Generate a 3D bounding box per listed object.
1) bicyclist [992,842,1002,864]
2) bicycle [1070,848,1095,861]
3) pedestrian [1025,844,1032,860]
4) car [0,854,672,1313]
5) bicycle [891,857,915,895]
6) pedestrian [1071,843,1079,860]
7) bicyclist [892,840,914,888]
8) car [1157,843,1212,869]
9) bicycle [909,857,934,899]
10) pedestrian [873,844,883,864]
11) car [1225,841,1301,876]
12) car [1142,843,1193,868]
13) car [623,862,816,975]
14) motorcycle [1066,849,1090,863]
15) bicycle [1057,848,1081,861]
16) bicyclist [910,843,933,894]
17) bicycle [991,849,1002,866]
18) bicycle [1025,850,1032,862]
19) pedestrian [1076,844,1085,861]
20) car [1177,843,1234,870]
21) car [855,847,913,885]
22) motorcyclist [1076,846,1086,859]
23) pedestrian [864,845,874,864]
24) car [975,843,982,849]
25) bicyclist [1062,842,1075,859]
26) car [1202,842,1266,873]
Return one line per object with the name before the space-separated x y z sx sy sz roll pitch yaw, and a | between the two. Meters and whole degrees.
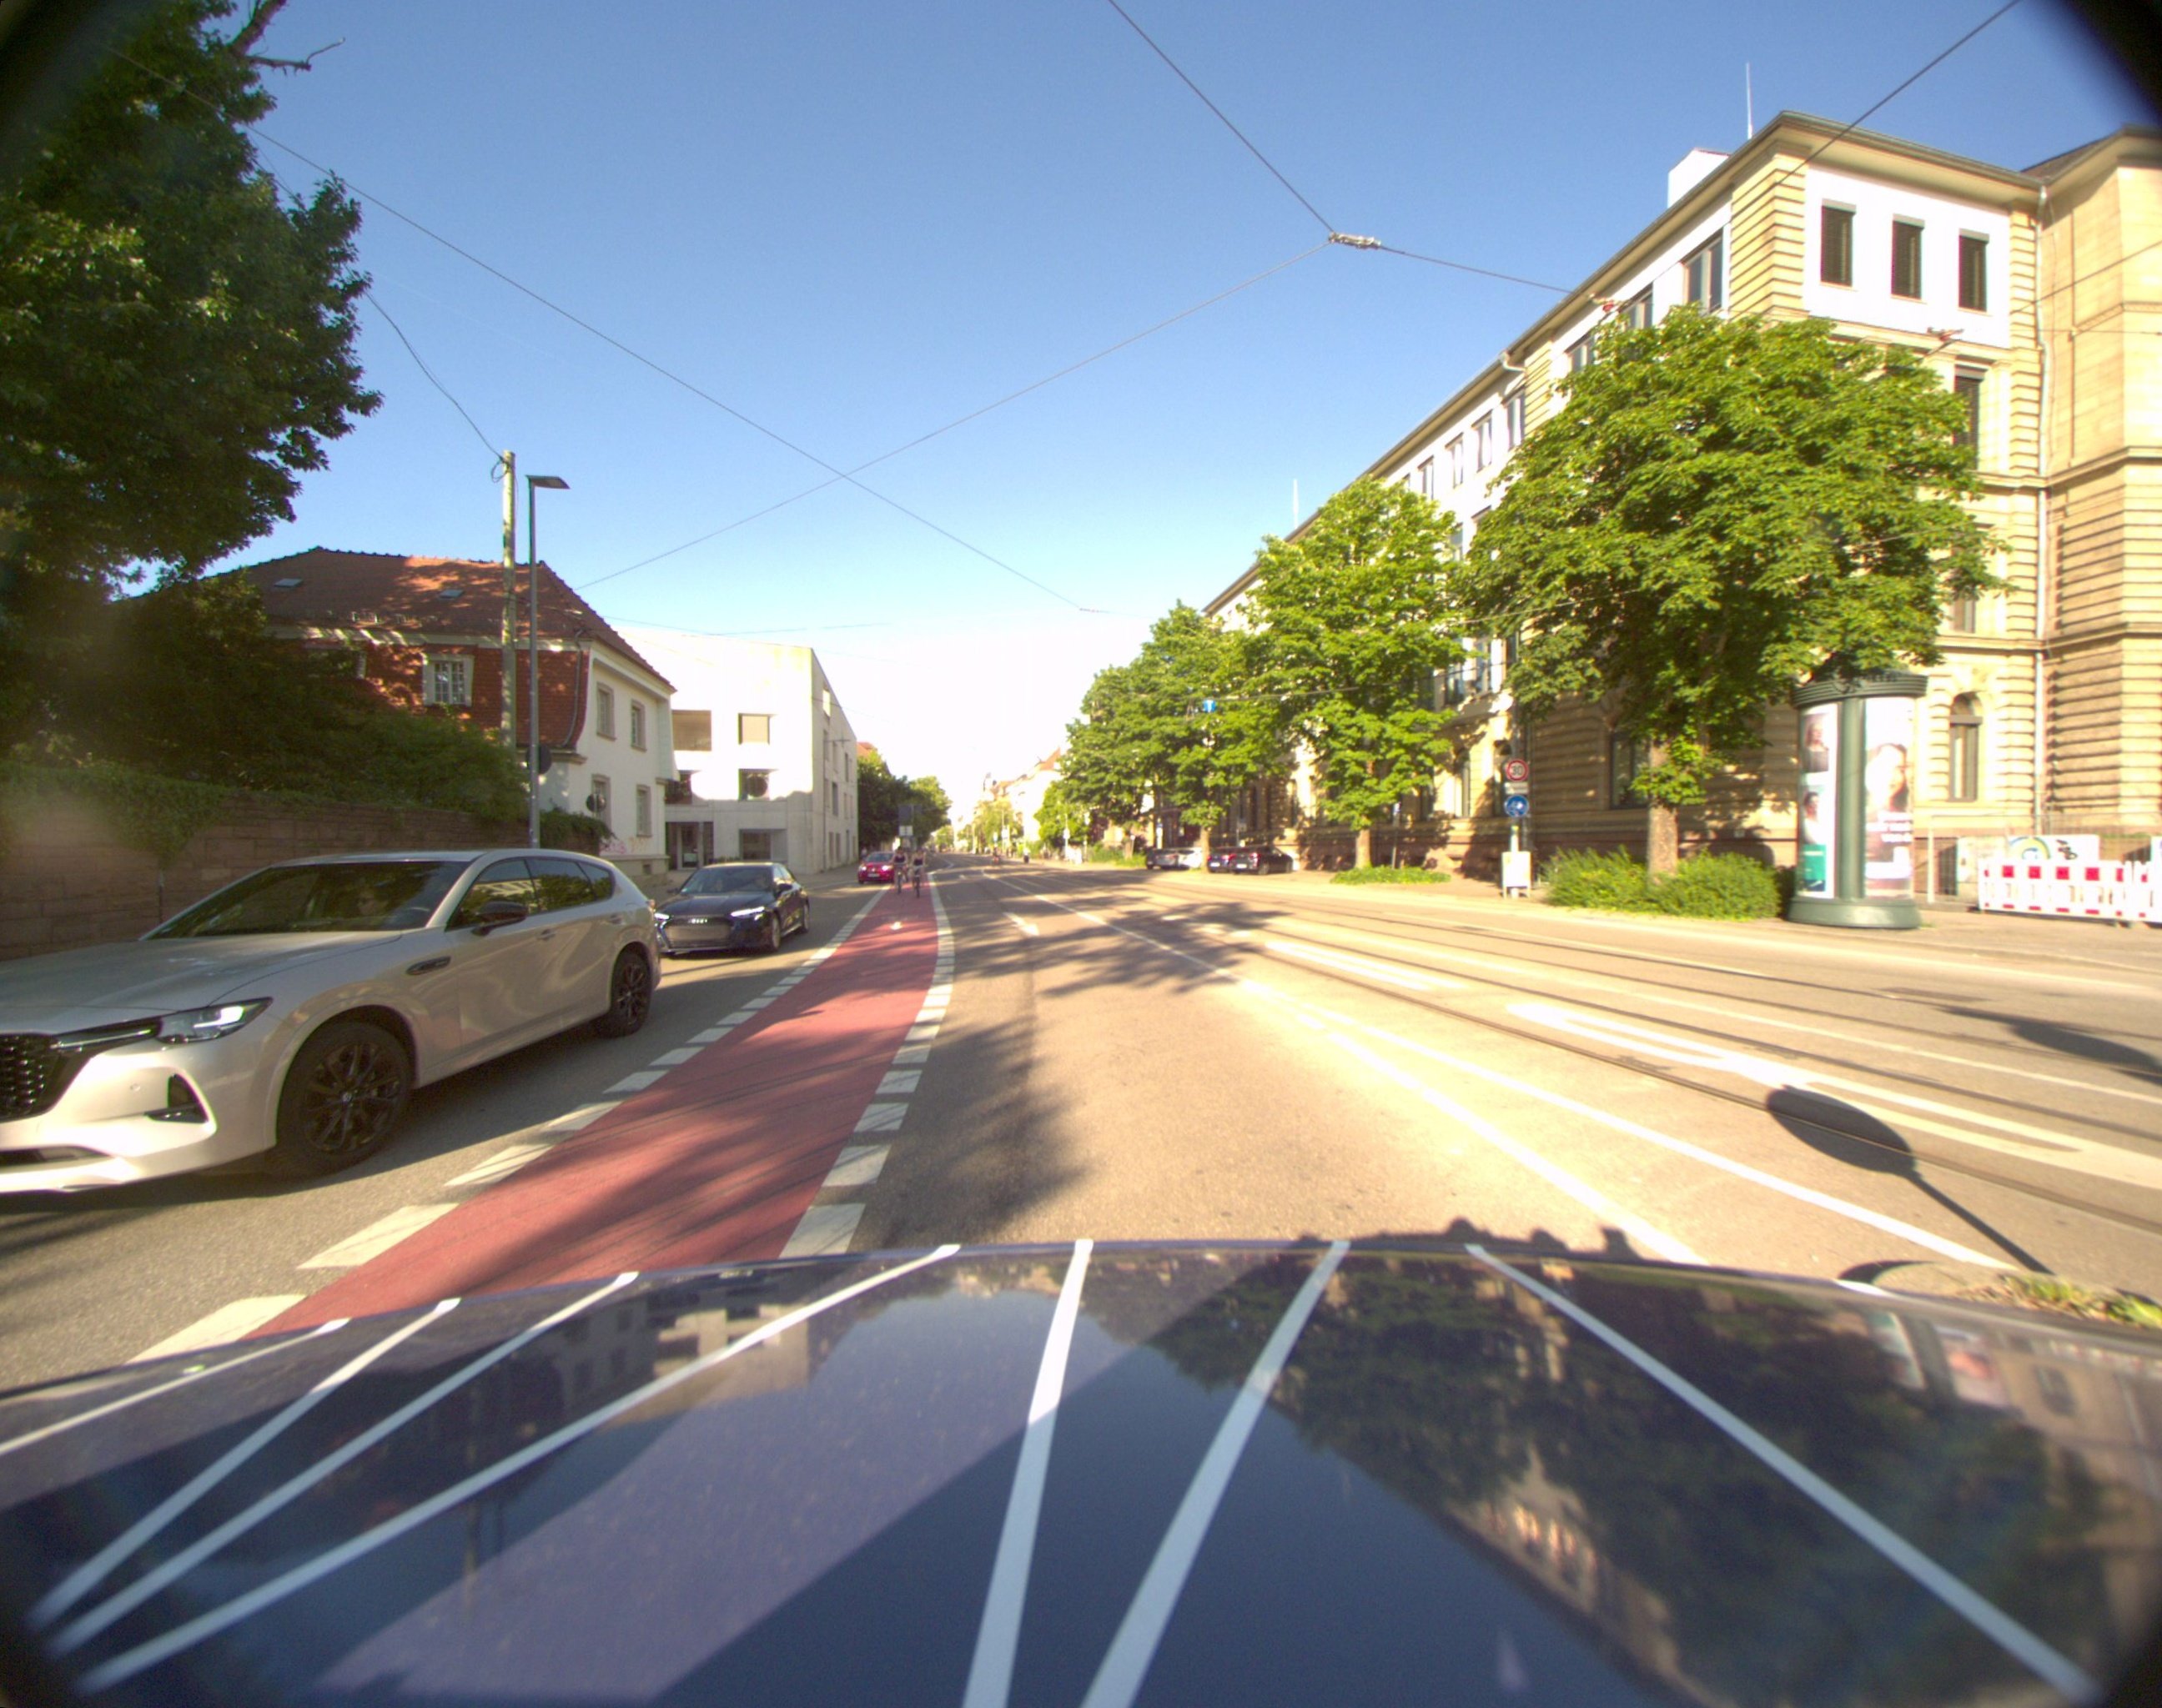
bicyclist | -6.400 -0.056 57.700 0.676 1.638 1.028 0 1 -10
bicycle | 0.114 0.029 77.472 2.457 1.243 0.675 0 1 -11
pedestrian | -5.504 -0.174 79.757 0.675 1.638 0.817 -1 1 -1
car | -4.820 0.906 5.095 1.946 1.682 4.528 -2 1 -5
bicycle | -6.303 0.767 26.981 0.676 1.243 2.454 0 1 -9
pedestrian | -0.573 -0.253 72.688 0.676 1.638 0.817 -1 1 -10
bicyclist | -6.307 0.341 26.979 0.676 1.638 1.028 0 1 -10
car | 6.889 0.144 50.327 3.657 1.552 1.645 -3 2 -44
bicycle | -5.161 0.750 24.666 0.676 1.243 2.454 0 1 -9
pedestrian | -17.420 0.006 65.264 0.676 1.638 0.817 -1 1 -10
car | 9.586 0.202 39.777 4.189 1.621 1.841 -3 2 -44
car | 6.141 0.102 53.722 3.657 1.552 1.645 -3 2 -44
car | -5.794 0.928 12.763 1.789 1.425 3.996 -2 1 -9
motorcycle | -0.298 0.199 77.448 2.266 1.285 0.680 -3 1 -16
bicycle | -1.203 0.035 75.113 2.461 1.243 0.674 -1 1 -35
bicyclist | -5.156 0.452 24.585 0.676 1.638 1.028 0 1 -10
bicycle | -6.411 0.278 57.750 0.676 1.243 2.454 0 1 -9
bicycle | -5.500 0.169 79.776 0.676 1.243 2.456 -1 1 -1
pedestrian | -0.026 -0.175 72.932 0.676 1.638 0.817 -1 1 -10
car | 7.915 0.151 48.118 3.657 1.552 1.645 -3 2 -44
car | -9.031 0.509 35.093 1.649 1.552 3.649 -2 1 0
motorcyclist | 0.015 -0.152 77.449 0.854 1.243 0.675 0 1 -12
pedestrian | -18.184 0.038 65.133 0.676 1.638 0.817 -1 1 -10
car | -28.800 -2.242 213.011 1.651 1.552 3.645 -3 1 -13
bicyclist | -1.256 -0.369 75.058 1.031 1.638 0.674 -1 1 -35
car | 8.565 0.175 42.416 3.657 1.552 1.645 -3 2 -44
